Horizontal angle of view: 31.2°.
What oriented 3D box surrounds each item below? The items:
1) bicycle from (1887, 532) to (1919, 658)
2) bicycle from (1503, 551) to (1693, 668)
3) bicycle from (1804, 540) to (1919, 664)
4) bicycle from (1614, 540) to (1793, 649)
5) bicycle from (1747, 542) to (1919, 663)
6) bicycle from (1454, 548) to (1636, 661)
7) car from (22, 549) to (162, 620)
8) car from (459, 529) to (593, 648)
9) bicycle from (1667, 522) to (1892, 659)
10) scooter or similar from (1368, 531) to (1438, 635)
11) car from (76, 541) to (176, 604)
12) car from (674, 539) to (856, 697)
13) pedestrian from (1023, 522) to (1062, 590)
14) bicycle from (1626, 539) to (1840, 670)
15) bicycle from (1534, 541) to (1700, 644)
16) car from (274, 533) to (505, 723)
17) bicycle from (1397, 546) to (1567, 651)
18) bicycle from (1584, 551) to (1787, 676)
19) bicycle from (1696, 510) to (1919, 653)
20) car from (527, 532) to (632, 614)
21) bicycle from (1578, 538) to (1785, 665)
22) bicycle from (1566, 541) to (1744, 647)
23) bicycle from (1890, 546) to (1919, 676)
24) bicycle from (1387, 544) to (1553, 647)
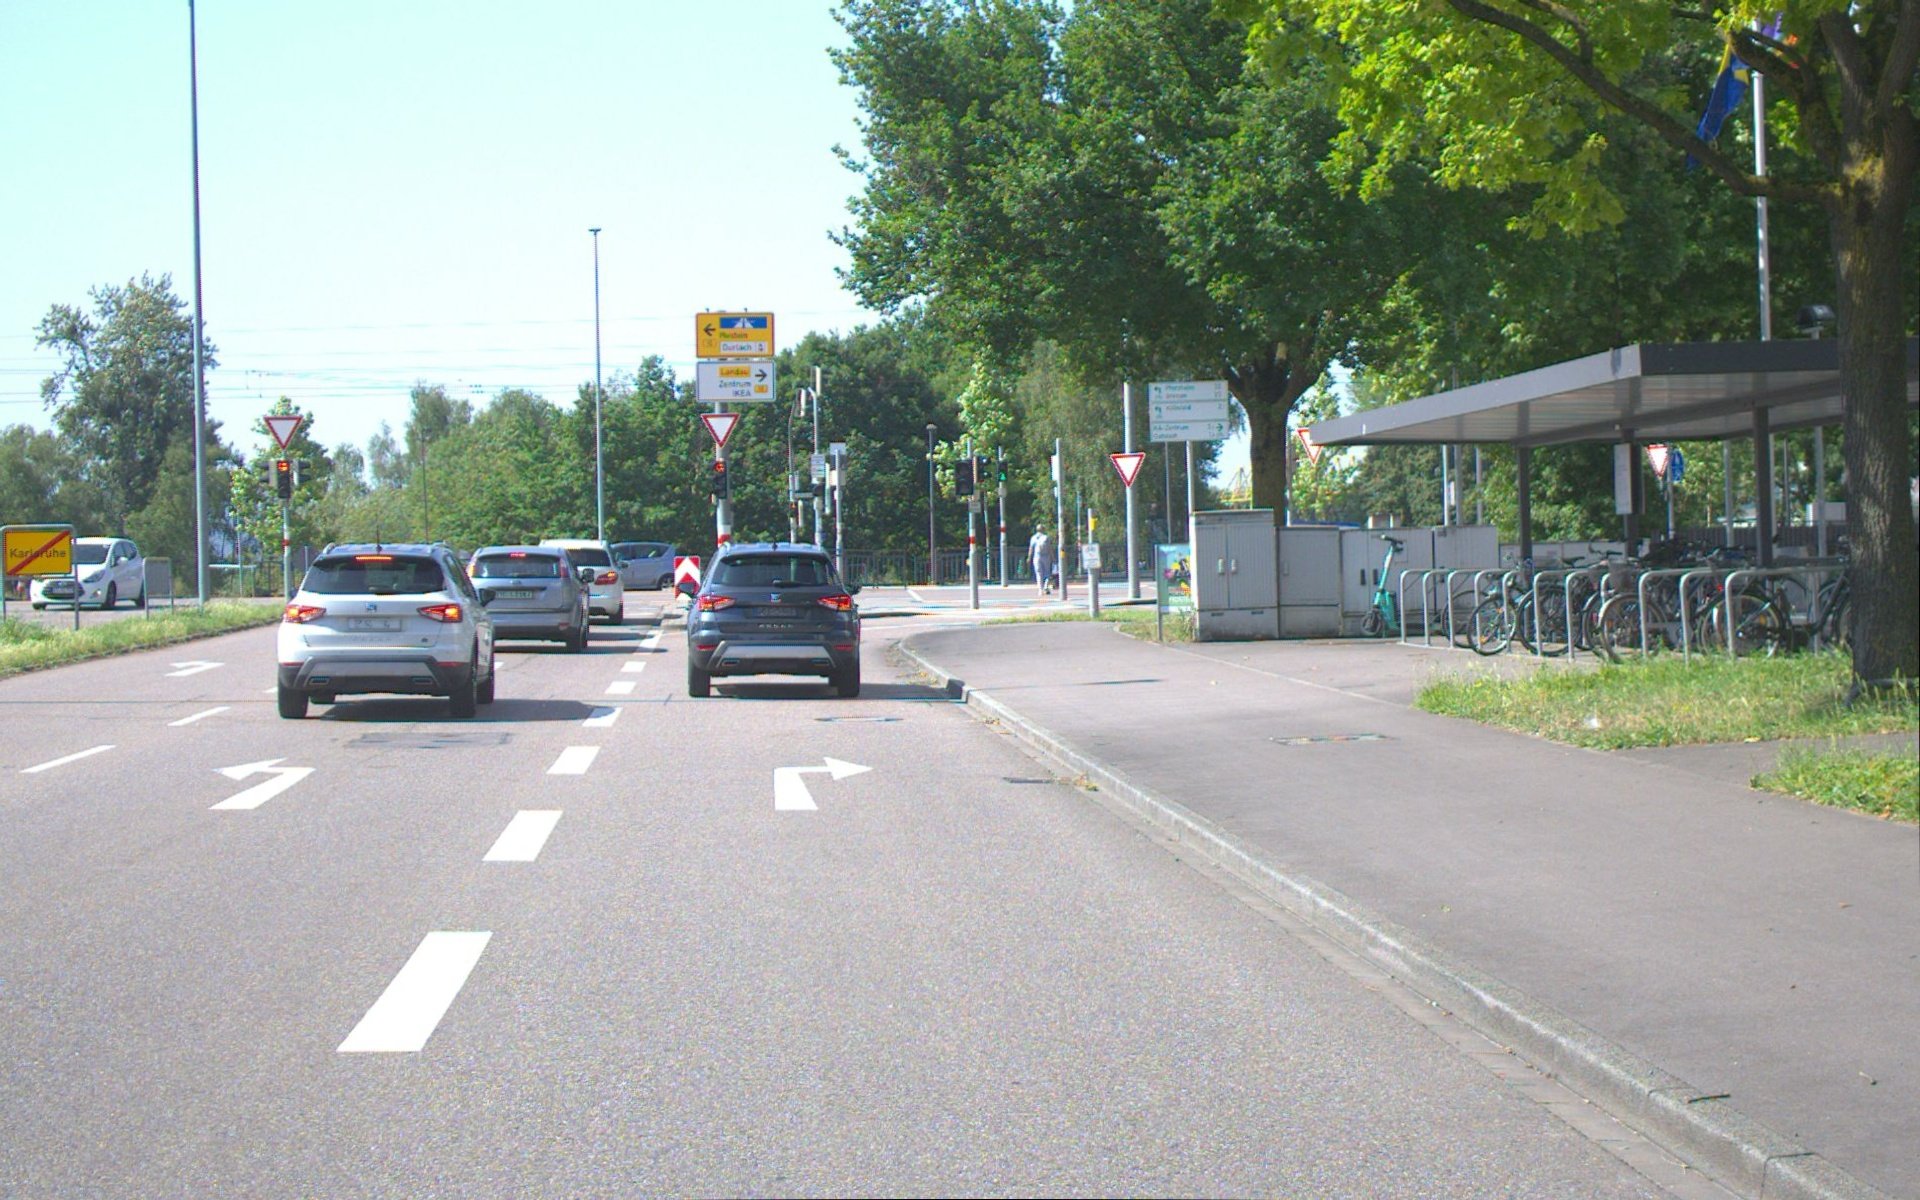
[{"bbox_3d":[9.126,-0.073,30.319,1.758,1.092,0.452,-2,1,-4],"label":"bicycle"},{"bbox_3d":[6.302,0.086,33.984,1.758,1.092,0.452,-2,1,-4],"label":"bicycle"},{"bbox_3d":[8.677,0.006,31.502,1.758,1.092,0.452,-2,1,-4],"label":"bicycle"},{"bbox_3d":[7.844,-0.063,36.278,1.758,1.092,0.452,-2,1,-4],"label":"bicycle"},{"bbox_3d":[8.487,0.019,32.941,1.758,1.092,0.452,-2,1,-4],"label":"bicycle"},{"bbox_3d":[5.988,0.047,35.222,1.758,1.092,0.452,-2,1,-4],"label":"bicycle"},{"bbox_3d":[-19.649,-0.363,77.999,1.794,1.541,4.086,-1,1,5],"label":"car"},{"bbox_3d":[-6.109,-0.194,48.712,1.706,1.568,4.175,1,1,-5],"label":"car"},{"bbox_3d":[6.912,-0.089,29.019,1.758,1.092,0.463,-2,1,-4],"label":"bicycle"},{"bbox_3d":[5.480,-0.214,42.507,0.776,1.261,0.284,-2,1,-6],"label":"scooter or similar"},{"bbox_3d":[-13.964,-0.472,57.649,1.117,1.000,2.492,-2,1,-2],"label":"car"},{"bbox_3d":[-2.034,0.149,35.171,1.669,1.518,3.377,0,1,-6],"label":"car"},{"bbox_3d":[1.905,-1.020,79.458,0.773,1.505,1.007,-1,2,7],"label":"pedestrian"},{"bbox_3d":[6.823,0.031,30.376,1.758,1.092,0.452,-2,1,-4],"label":"bicycle"},{"bbox_3d":[7.433,-0.088,38.892,1.758,1.092,0.452,-2,1,-4],"label":"bicycle"},{"bbox_3d":[-5.135,0.202,31.347,1.631,1.493,3.871,-1,3,-3],"label":"car"},{"bbox_3d":[5.708,-0.022,37.631,1.758,1.092,0.452,-2,1,-4],"label":"bicycle"},{"bbox_3d":[6.700,0.120,31.771,1.758,1.092,0.452,-2,1,-4],"label":"bicycle"},{"bbox_3d":[6.955,-0.154,28.084,1.758,1.092,0.452,-2,1,-3],"label":"bicycle"},{"bbox_3d":[-7.029,-0.523,63.787,1.741,1.443,4.389,-1,1,-4],"label":"car"},{"bbox_3d":[6.566,0.011,31.291,1.758,1.092,0.452,-2,1,-4],"label":"bicycle"},{"bbox_3d":[7.598,-0.072,37.595,1.828,1.092,0.452,-2,1,-4],"label":"bicycle"},{"bbox_3d":[8.889,0.064,29.332,1.758,1.092,0.452,-2,1,-4],"label":"bicycle"},{"bbox_3d":[5.724,-0.053,38.634,1.758,1.092,0.452,-2,1,-4],"label":"bicycle"}]
